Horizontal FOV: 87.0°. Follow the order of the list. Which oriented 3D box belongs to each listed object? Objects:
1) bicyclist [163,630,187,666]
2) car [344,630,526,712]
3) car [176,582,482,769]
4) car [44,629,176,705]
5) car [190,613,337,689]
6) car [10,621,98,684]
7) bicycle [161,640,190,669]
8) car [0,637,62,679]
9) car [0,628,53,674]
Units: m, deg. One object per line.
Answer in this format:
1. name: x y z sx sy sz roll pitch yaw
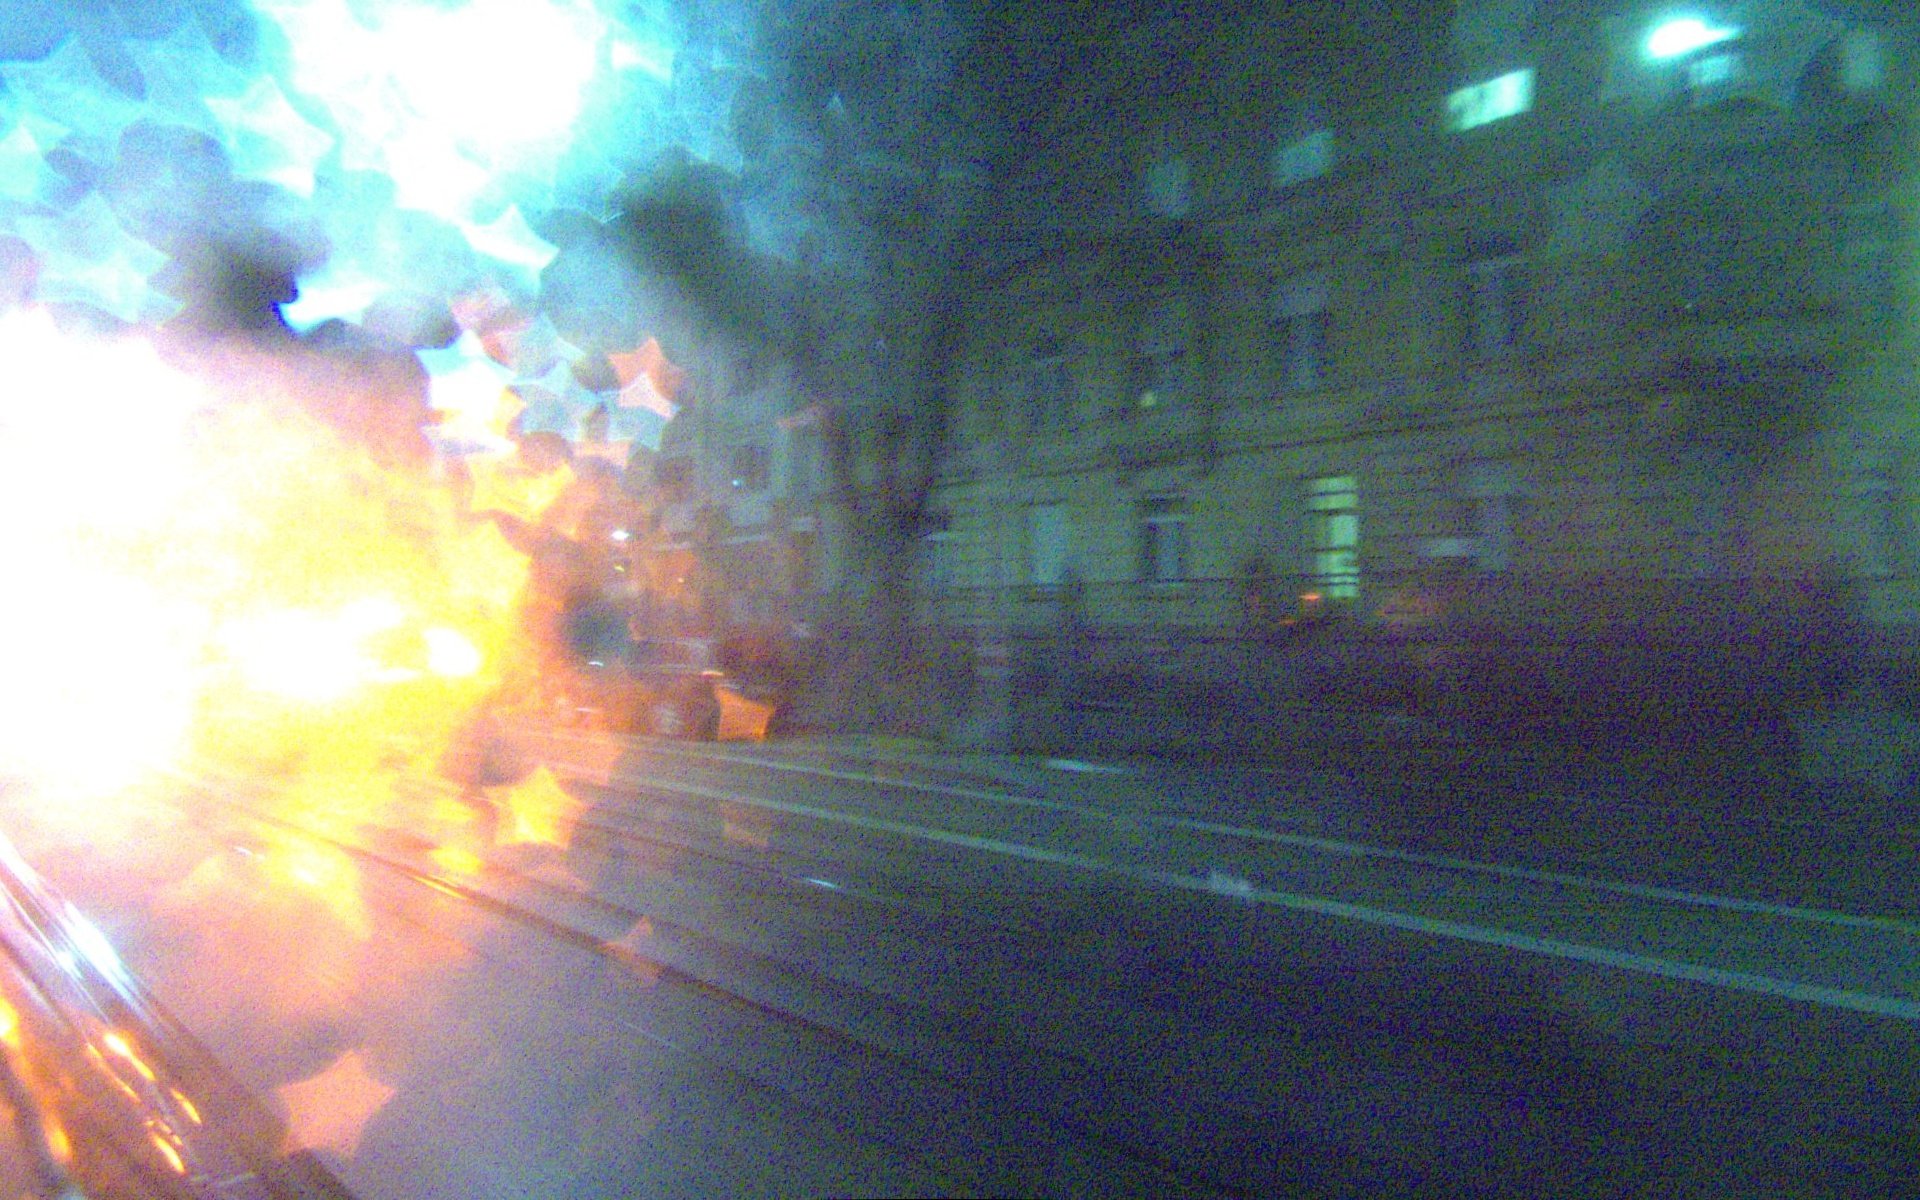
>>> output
1. bicyclist: -33.532 2.033 43.248 0.868 1.476 0.647 0 1 43
2. car: -10.728 1.364 20.569 4.136 1.417 1.749 -1 1 39
3. car: -7.666 0.834 12.123 4.383 1.830 1.918 -2 -4 42
4. car: -18.581 1.408 22.073 4.205 1.490 1.633 -2 -3 42
5. car: -19.468 1.396 28.184 5.304 1.839 1.974 -3 1 40
6. car: -29.396 1.690 32.786 1.903 1.894 4.640 3 -4 -44
7. bicycle: -33.550 2.321 43.275 1.898 1.150 0.647 0 2 44
8. car: -35.629 2.182 38.650 1.772 1.475 3.903 1 -2 -45
9. car: -40.635 2.162 43.638 4.537 1.883 1.874 -1 -2 44
